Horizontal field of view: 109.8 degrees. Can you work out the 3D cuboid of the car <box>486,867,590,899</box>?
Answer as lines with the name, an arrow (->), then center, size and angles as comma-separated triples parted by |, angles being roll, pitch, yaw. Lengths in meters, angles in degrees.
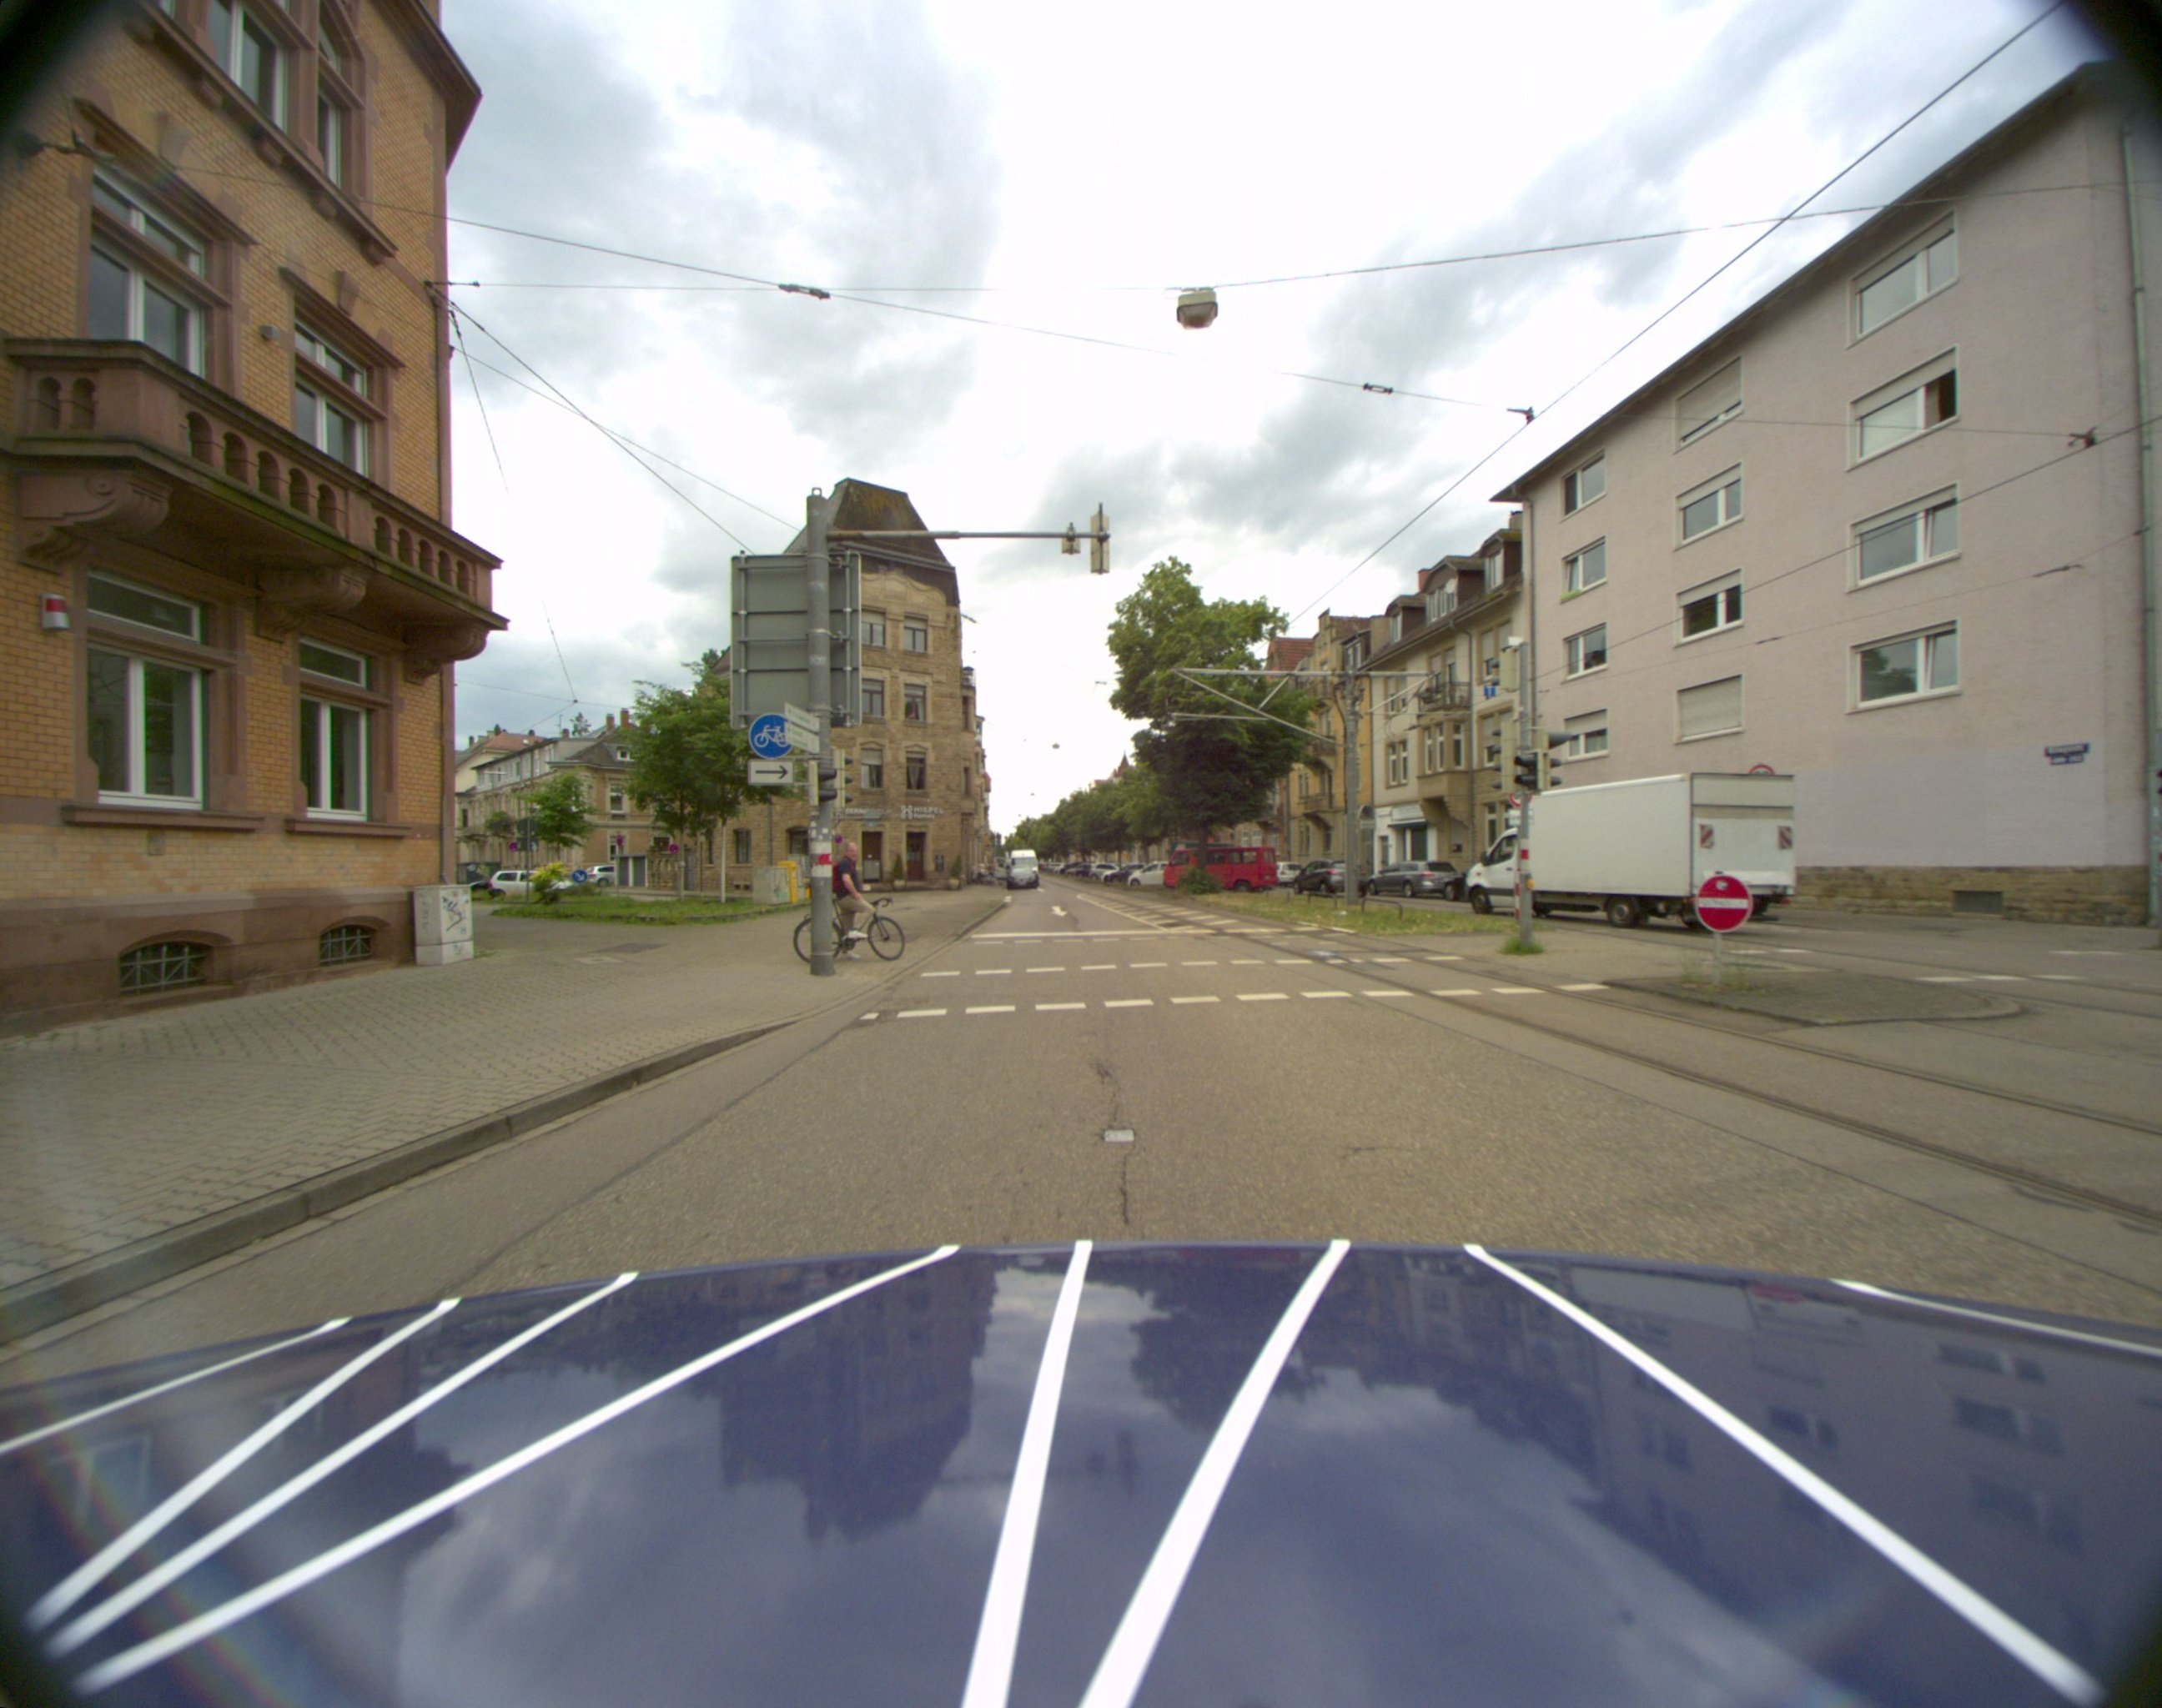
car -> -25.032, 1.327, 35.170 | 3.545, 1.425, 1.705 | 1, 0, -18

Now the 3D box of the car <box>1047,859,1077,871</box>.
car -> -2.798, 1.588, 111.873 | 4.195, 1.600, 1.728 | 0, 1, 35

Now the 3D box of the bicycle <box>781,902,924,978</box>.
bicycle -> -3.386, 1.239, 11.345 | 1.872, 0.918, 0.794 | -1, 0, -38

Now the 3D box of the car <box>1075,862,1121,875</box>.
car -> 1.559, 1.353, 69.979 | 3.951, 1.195, 1.672 | -1, 0, 37

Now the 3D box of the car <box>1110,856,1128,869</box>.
car -> 5.136, 1.177, 103.463 | 1.810, 1.670, 4.270 | -1, 0, -7

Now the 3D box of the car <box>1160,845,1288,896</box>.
car -> 5.855, 0.652, 31.232 | 4.755, 1.962, 1.963 | -1, 0, 32

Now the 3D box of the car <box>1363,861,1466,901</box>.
car -> 13.186, 1.013, 30.368 | 1.640, 1.434, 4.567 | -1, 0, -8

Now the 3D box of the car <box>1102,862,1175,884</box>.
car -> 3.930, 1.276, 52.097 | 4.675, 1.426, 1.903 | -1, 0, 33

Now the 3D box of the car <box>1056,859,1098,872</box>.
car -> -0.443, 1.303, 87.002 | 4.529, 1.481, 2.040 | -1, 0, 38

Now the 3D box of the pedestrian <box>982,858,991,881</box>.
pedestrian -> -6.919, 1.127, 55.372 | 0.510, 1.707, 0.580 | 2, 0, -16

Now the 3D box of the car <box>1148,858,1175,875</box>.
car -> 8.220, 1.219, 77.784 | 1.746, 1.617, 4.551 | -1, 0, -7

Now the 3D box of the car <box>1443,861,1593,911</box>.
car -> 13.899, 0.946, 24.542 | 1.640, 1.434, 4.759 | -1, 0, -8

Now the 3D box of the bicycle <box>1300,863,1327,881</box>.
bicycle -> 14.581, 1.140, 47.783 | 0.713, 1.066, 2.258 | -1, 0, -8

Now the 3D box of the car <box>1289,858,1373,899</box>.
car -> 10.184, 0.945, 31.316 | 1.649, 1.525, 4.129 | -1, 0, -8

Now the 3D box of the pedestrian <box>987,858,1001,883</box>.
pedestrian -> -6.223, 1.174, 54.221 | 0.866, 1.690, 0.537 | 2, 0, -20

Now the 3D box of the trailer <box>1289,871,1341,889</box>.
trailer -> 12.405, 1.368, 40.430 | 1.459, 0.887, 3.074 | 1, 0, -8

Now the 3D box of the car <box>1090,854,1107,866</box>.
car -> 2.330, 0.755, 100.030 | 1.649, 1.495, 3.881 | -1, 0, -7

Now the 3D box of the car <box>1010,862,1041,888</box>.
car -> -3.560, 1.279, 48.136 | 1.829, 1.441, 5.004 | -2, 0, -5

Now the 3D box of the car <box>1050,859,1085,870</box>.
car -> -1.847, 1.419, 101.365 | 4.552, 1.484, 1.867 | -1, 0, 40

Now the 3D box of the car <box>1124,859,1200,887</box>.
car -> 4.477, 1.053, 42.100 | 3.852, 1.454, 1.693 | -1, 0, 36

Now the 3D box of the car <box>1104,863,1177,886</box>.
car -> 3.790, 1.300, 49.001 | 4.328, 1.426, 1.903 | -1, 0, 36

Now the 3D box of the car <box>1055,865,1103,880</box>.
car -> -0.201, 1.859, 76.315 | 4.655, 1.360, 1.761 | -1, 0, 36

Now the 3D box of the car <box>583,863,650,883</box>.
car -> -35.057, 1.427, 57.402 | 1.750, 1.425, 4.053 | 0, -1, 44

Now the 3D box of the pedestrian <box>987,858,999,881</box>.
pedestrian -> -6.514, 1.171, 56.192 | 0.706, 1.690, 0.491 | 2, 0, -34

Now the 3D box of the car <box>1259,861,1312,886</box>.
car -> 12.030, 1.121, 44.976 | 1.640, 1.434, 3.921 | -1, 0, -8

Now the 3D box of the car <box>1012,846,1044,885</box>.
car -> -3.890, 0.803, 54.534 | 2.019, 2.534, 7.013 | -2, 0, -5

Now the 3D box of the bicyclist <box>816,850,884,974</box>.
bicyclist -> -3.502, 0.839, 11.483 | 0.683, 1.785, 0.889 | -1, 0, -38

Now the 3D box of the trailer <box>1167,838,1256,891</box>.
trailer -> 5.986, 0.474, 34.691 | 3.662, 2.330, 1.934 | -1, 0, 22

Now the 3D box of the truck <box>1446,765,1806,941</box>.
truck -> 11.583, -0.027, 17.275 | 2.191, 3.139, 7.326 | -1, 0, -8

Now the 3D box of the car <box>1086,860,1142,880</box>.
car -> 2.586, 1.239, 59.901 | 4.106, 1.475, 1.801 | -1, 0, 34

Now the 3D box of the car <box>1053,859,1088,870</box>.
car -> -1.330, 1.317, 94.644 | 4.118, 1.304, 1.867 | -2, 0, 37
